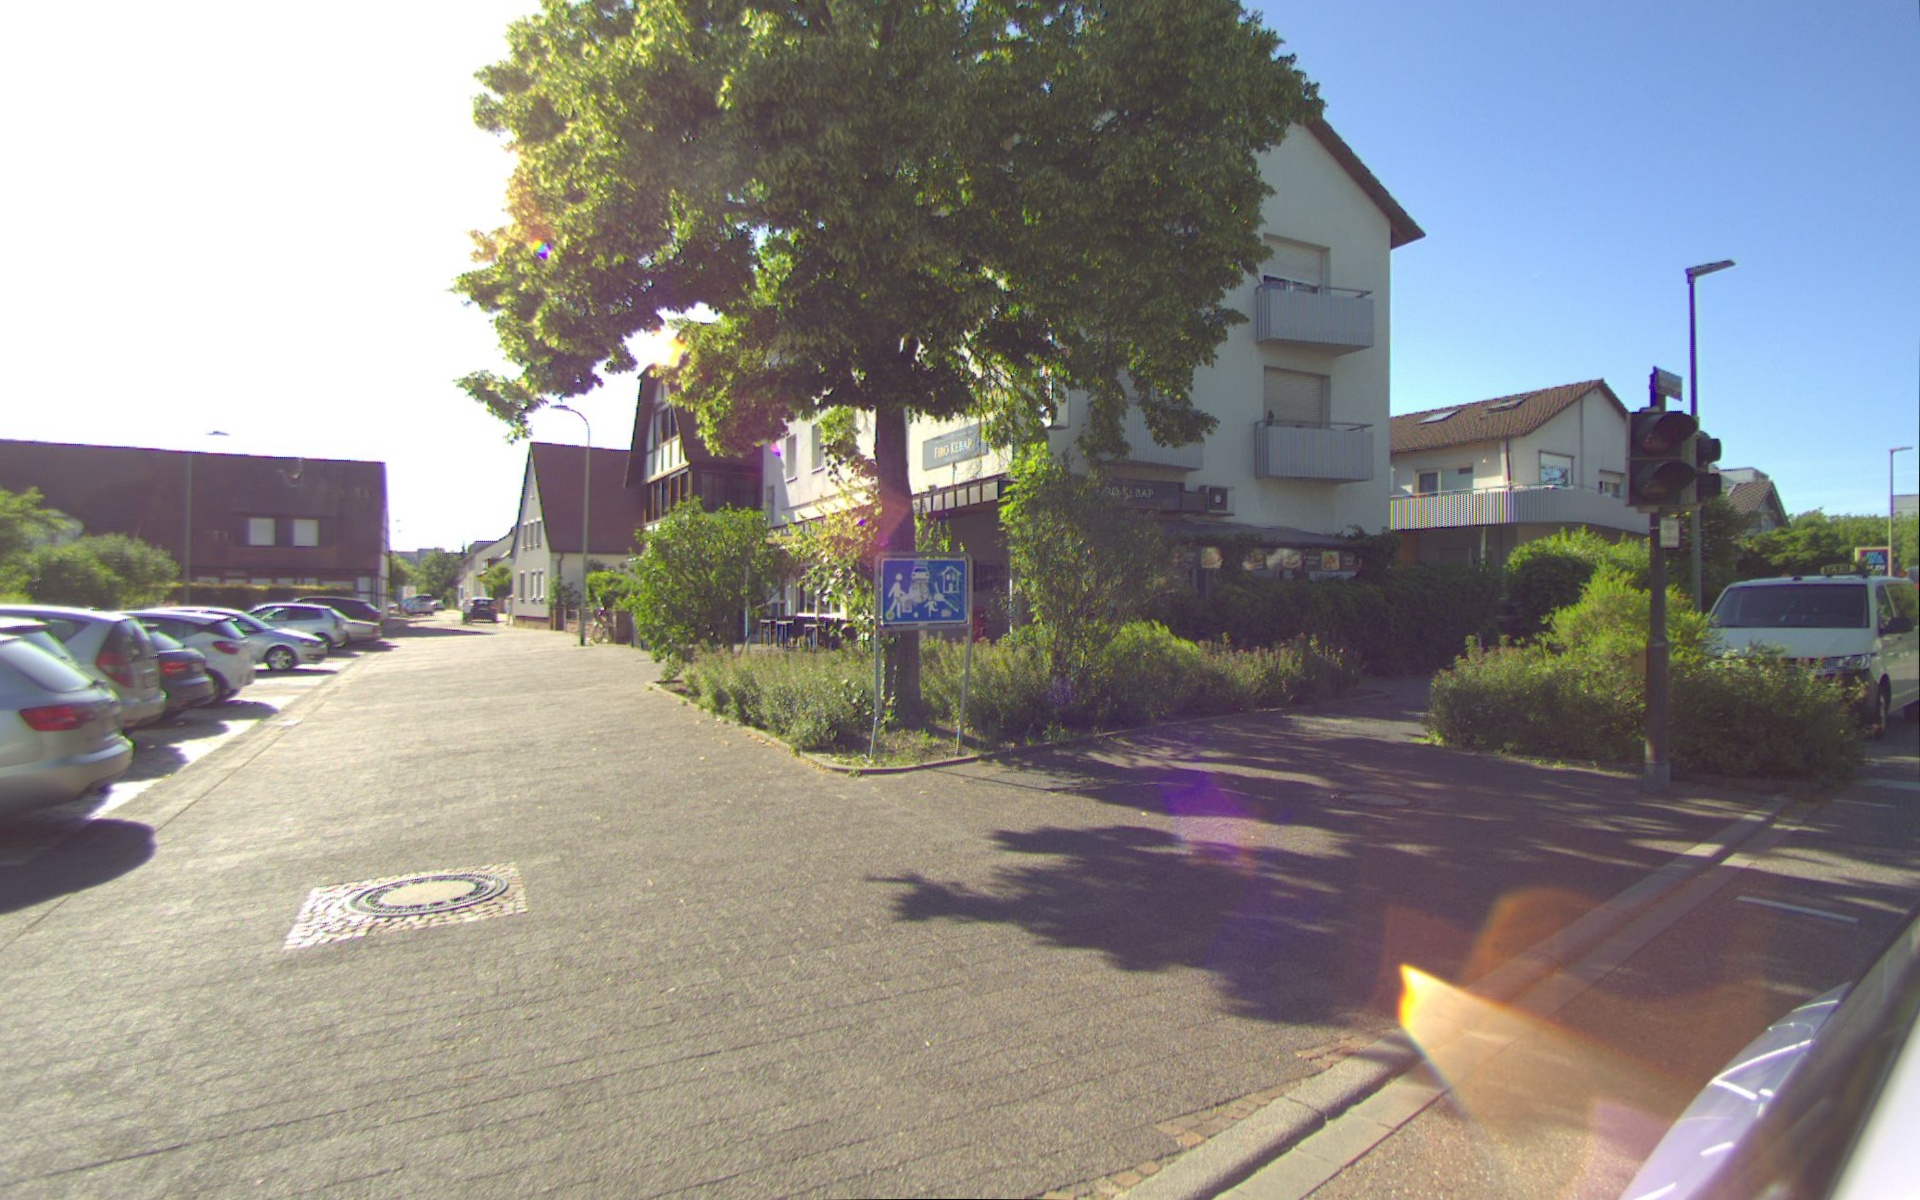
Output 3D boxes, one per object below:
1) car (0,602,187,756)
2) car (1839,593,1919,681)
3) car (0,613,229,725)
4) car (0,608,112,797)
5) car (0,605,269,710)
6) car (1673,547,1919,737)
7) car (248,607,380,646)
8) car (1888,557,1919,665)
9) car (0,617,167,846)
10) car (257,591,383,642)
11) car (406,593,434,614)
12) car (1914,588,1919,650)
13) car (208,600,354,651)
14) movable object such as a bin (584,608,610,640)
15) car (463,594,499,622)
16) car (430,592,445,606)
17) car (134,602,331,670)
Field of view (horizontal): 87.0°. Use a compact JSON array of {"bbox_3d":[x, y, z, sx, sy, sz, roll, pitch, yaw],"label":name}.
[{"bbox_3d":[-11.107,0.787,10.706,4.311,1.572,1.716,2,-2,-23],"label":"car"},{"bbox_3d":[20.734,0.743,21.989,4.499,1.760,1.959,0,-1,-43],"label":"car"},{"bbox_3d":[-12.190,0.868,13.194,4.027,1.367,1.652,2,-2,-25],"label":"car"},{"bbox_3d":[-9.984,0.799,8.263,4.311,1.537,1.716,2,-2,-23],"label":"car"},{"bbox_3d":[-13.299,0.876,15.932,3.730,1.493,1.604,2,-1,-25],"label":"car"},{"bbox_3d":[11.420,0.452,13.409,4.494,2.105,1.998,0,0,-38],"label":"car"},{"bbox_3d":[-21.068,0.878,33.157,3.547,1.210,1.346,2,-2,-31],"label":"car"},{"bbox_3d":[25.851,0.272,26.530,5.137,2.678,1.958,0,-1,-45],"label":"car"},{"bbox_3d":[-8.204,0.811,6.430,4.706,1.440,2.001,2,-2,-31],"label":"car"},{"bbox_3d":[-22.291,0.592,35.380,3.631,1.646,1.415,2,0,-31],"label":"car"},{"bbox_3d":[-48.871,0.361,91.644,2.168,1.866,4.808,0,-1,-28],"label":"car"},{"bbox_3d":[31.062,0.553,31.313,4.482,1.872,1.859,0,-3,-43],"label":"car"},{"bbox_3d":[-20.617,0.778,30.909,3.546,1.471,1.461,2,-2,-30],"label":"car"},{"bbox_3d":[-11.800,0.777,32.912,0.644,1.005,0.709,-2,1,-32],"label":"movable object such as a bin"},{"bbox_3d":[-31.397,0.537,66.446,1.958,1.737,4.810,2,-1,-24],"label":"car"},{"bbox_3d":[-77.092,-0.133,149.215,1.959,2.039,4.005,0,0,-28],"label":"car"},{"bbox_3d":[-16.819,0.838,23.604,3.546,1.438,1.462,2,0,-30],"label":"car"}]
